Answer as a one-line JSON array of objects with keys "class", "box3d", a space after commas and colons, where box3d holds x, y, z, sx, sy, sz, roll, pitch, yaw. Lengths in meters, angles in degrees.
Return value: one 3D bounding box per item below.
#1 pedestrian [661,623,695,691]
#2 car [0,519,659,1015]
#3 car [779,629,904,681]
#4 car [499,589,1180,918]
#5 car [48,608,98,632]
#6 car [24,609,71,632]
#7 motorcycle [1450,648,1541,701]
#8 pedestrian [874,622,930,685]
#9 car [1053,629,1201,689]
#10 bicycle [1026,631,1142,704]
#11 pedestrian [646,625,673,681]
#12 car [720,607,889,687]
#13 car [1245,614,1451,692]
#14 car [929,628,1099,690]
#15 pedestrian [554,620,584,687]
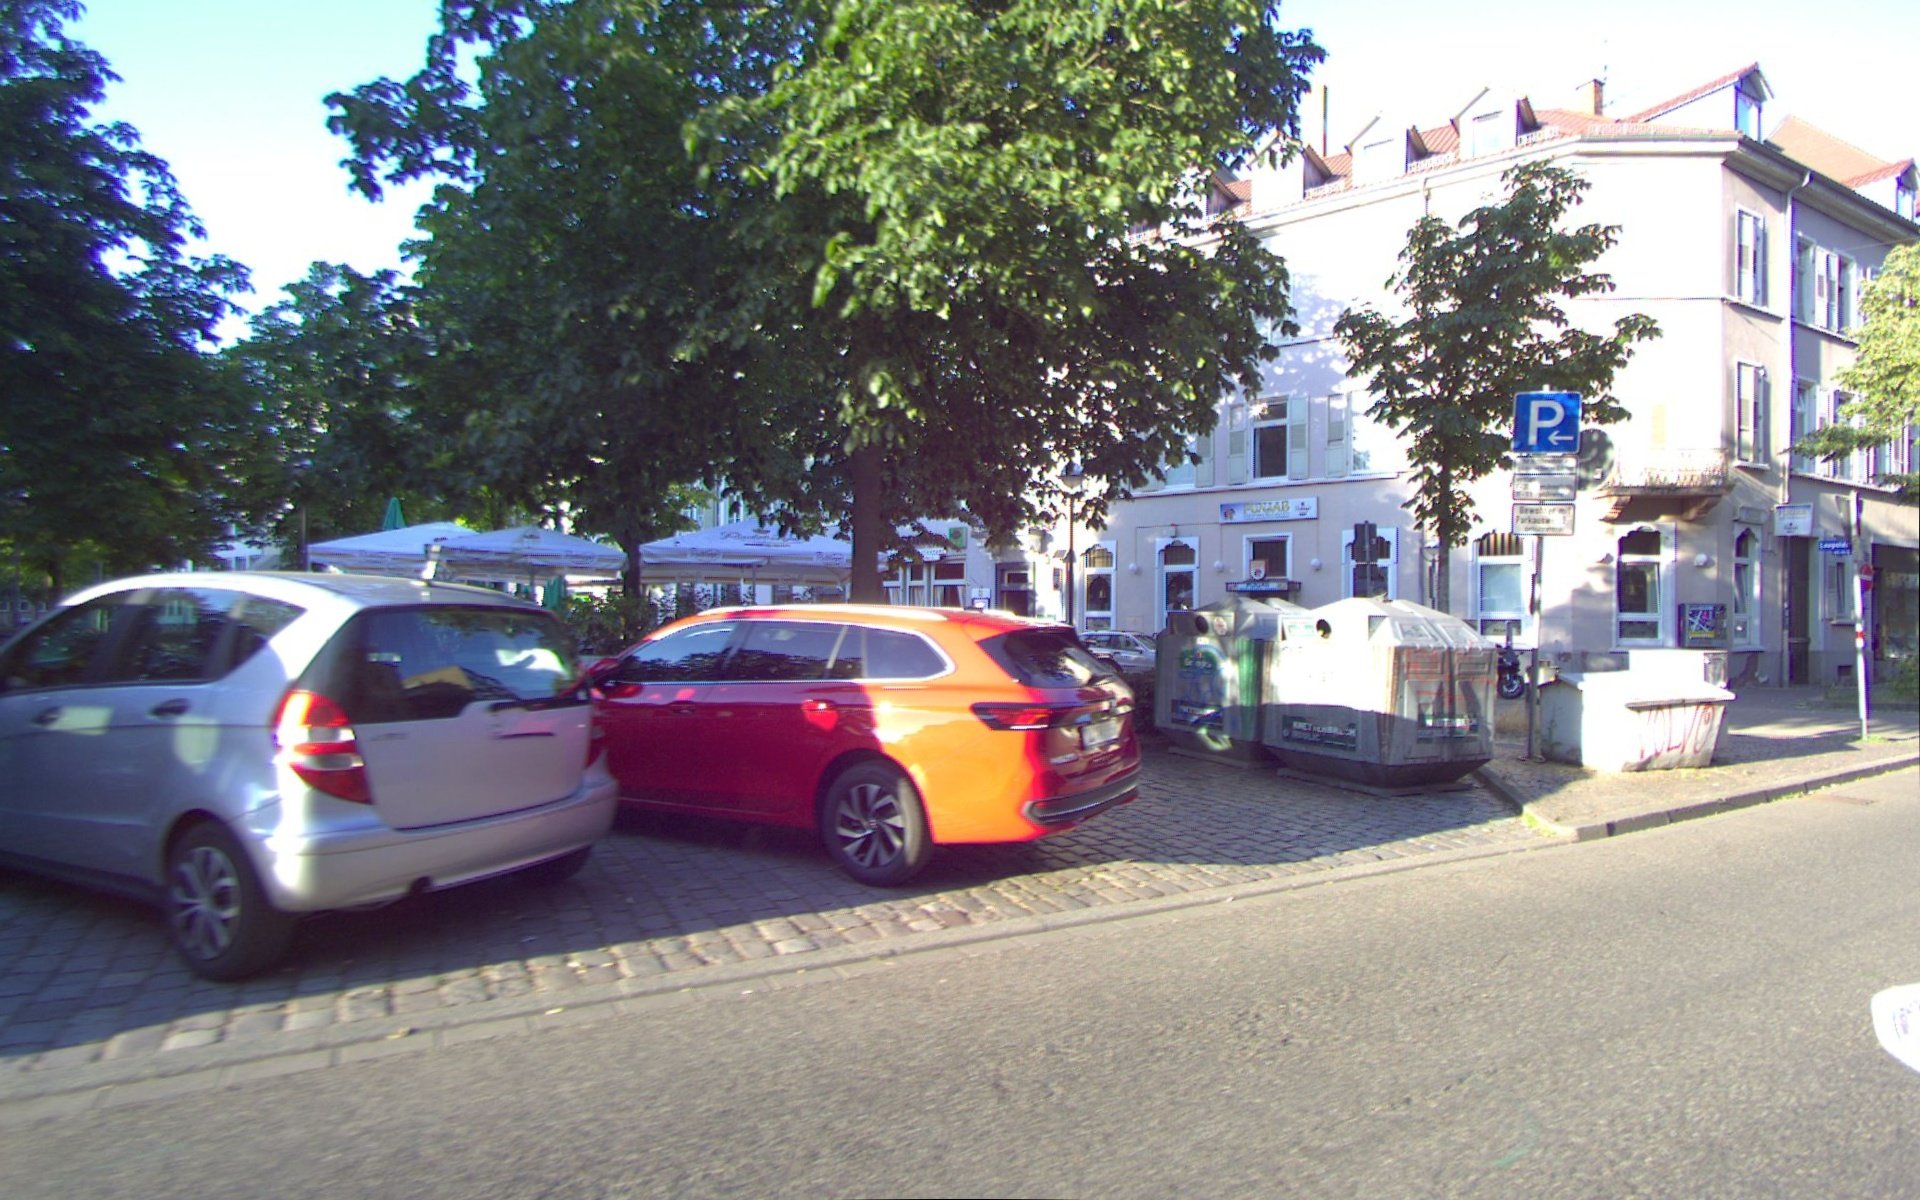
[{"class": "pedestrian", "box3d": [-5.010, 1.003, 17.836, 0.527, 1.187, 0.578, 1, -2, -22]}, {"class": "car", "box3d": [-3.676, 0.543, 5.107, 3.924, 1.718, 1.748, 2, 0, 25]}, {"class": "car", "box3d": [-3.894, 1.738, 32.721, 3.920, 1.459, 1.831, 1, 0, 39]}, {"class": "car", "box3d": [-0.775, 0.733, 6.518, 3.925, 1.505, 1.998, 1, 0, 26]}, {"class": "car", "box3d": [-65.125, 1.457, 73.751, 3.936, 1.639, 1.992, 1, 0, 37]}, {"class": "car", "box3d": [-70.823, 1.574, 77.918, 3.936, 1.728, 1.992, 1, 0, 37]}, {"class": "motorcycle", "box3d": [12.075, 1.654, 22.726, 0.733, 1.044, 2.096, 1, 0, -7]}, {"class": "pedestrian", "box3d": [-1.162, 1.056, 20.095, 0.842, 1.215, 0.790, 1, -2, -34]}, {"class": "car", "box3d": [4.564, 1.561, 27.717, 3.778, 1.430, 1.534, 1, 0, 39]}, {"class": "bicycle", "box3d": [1.916, 1.022, 15.452, 1.781, 1.083, 0.360, 1, 0, -18]}, {"class": "pedestrian", "box3d": [-6.562, 1.152, 21.907, 0.519, 1.189, 0.533, 0, -2, -22]}, {"class": "car", "box3d": [-4.445, 1.241, 28.365, 4.757, 2.013, 2.034, 1, 0, 39]}, {"class": "car", "box3d": [9.431, 1.222, 24.527, 4.360, 1.699, 1.954, 0, 0, 35]}, {"class": "car", "box3d": [1.262, 1.353, 24.095, 3.710, 1.254, 1.824, 1, 0, 37]}, {"class": "pedestrian", "box3d": [-7.342, 1.002, 18.860, 0.519, 1.232, 0.533, 0, -2, -22]}]
